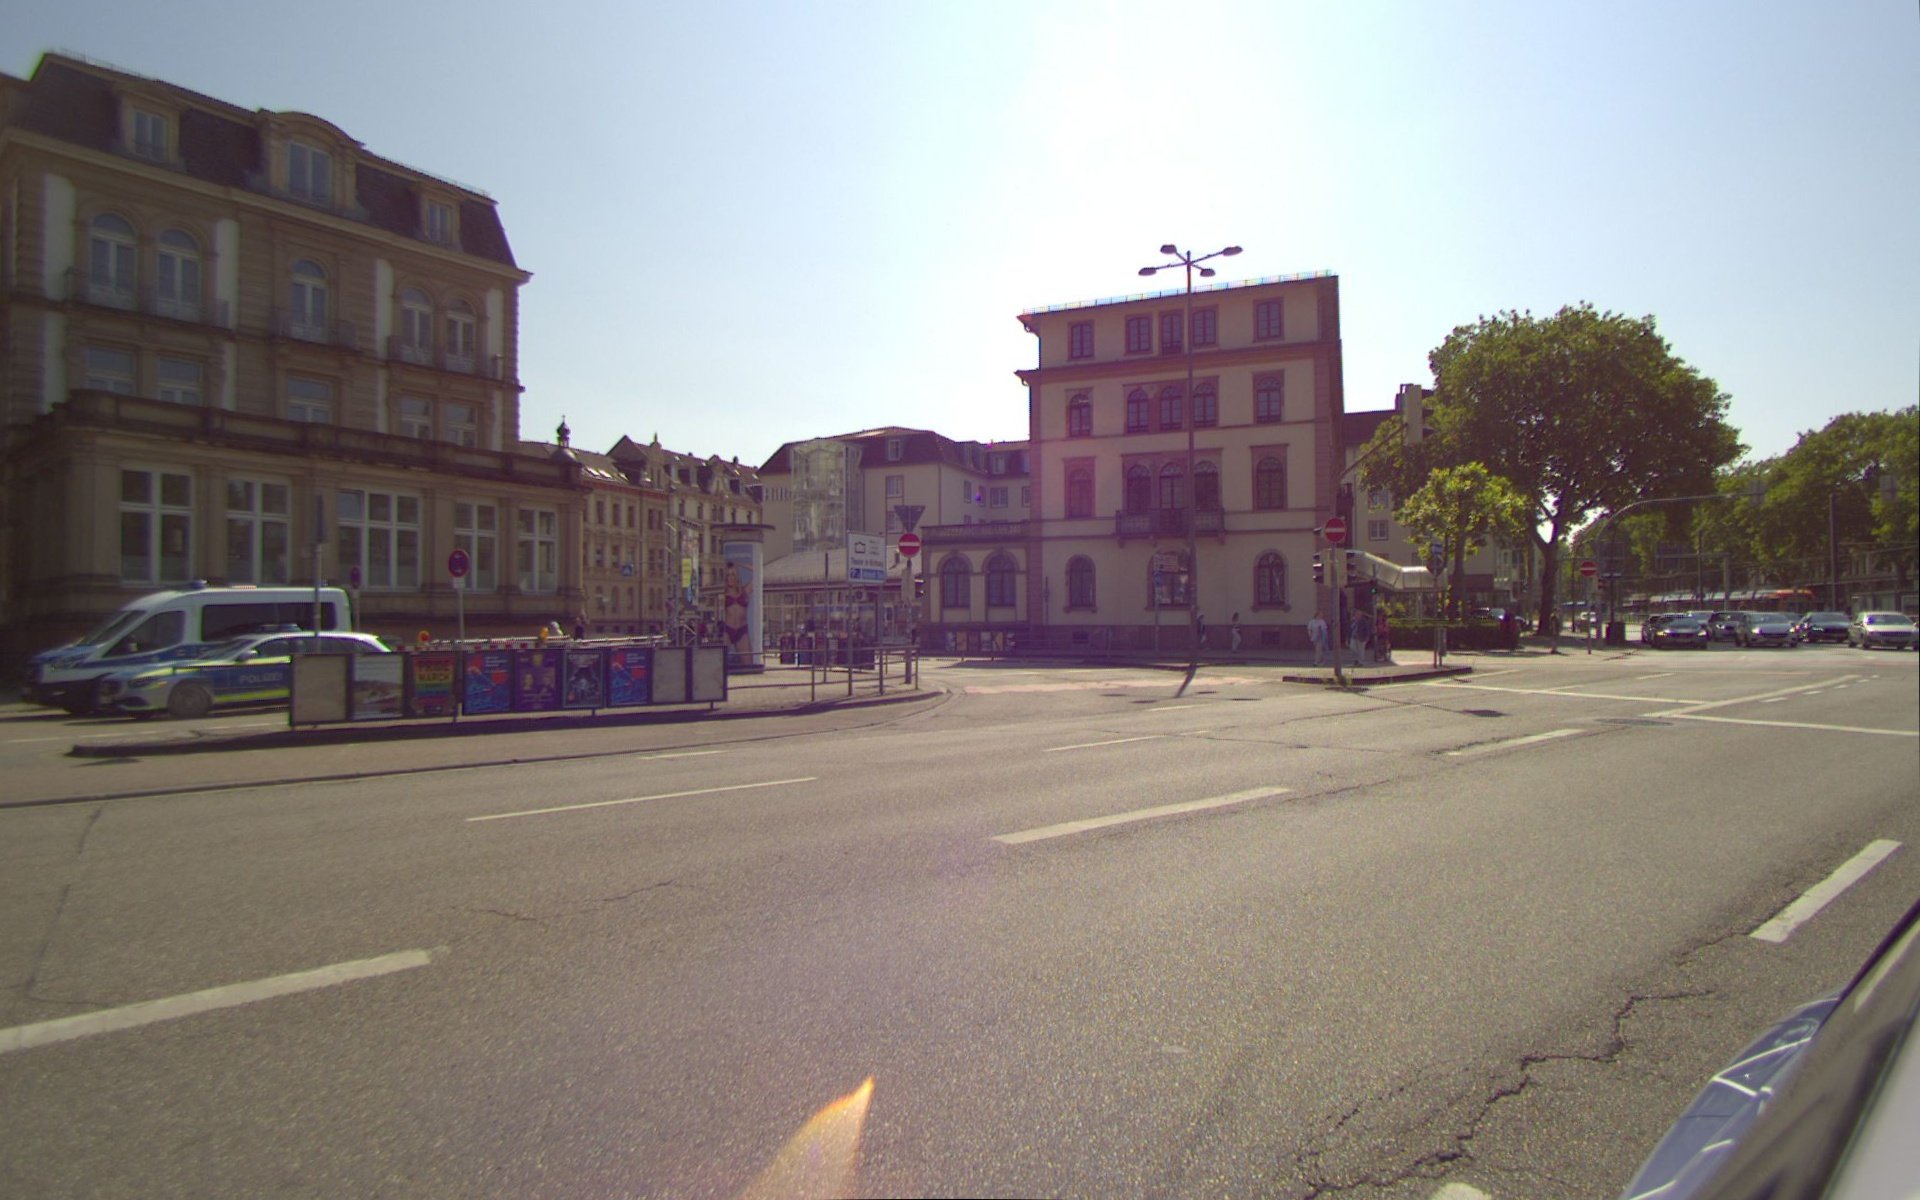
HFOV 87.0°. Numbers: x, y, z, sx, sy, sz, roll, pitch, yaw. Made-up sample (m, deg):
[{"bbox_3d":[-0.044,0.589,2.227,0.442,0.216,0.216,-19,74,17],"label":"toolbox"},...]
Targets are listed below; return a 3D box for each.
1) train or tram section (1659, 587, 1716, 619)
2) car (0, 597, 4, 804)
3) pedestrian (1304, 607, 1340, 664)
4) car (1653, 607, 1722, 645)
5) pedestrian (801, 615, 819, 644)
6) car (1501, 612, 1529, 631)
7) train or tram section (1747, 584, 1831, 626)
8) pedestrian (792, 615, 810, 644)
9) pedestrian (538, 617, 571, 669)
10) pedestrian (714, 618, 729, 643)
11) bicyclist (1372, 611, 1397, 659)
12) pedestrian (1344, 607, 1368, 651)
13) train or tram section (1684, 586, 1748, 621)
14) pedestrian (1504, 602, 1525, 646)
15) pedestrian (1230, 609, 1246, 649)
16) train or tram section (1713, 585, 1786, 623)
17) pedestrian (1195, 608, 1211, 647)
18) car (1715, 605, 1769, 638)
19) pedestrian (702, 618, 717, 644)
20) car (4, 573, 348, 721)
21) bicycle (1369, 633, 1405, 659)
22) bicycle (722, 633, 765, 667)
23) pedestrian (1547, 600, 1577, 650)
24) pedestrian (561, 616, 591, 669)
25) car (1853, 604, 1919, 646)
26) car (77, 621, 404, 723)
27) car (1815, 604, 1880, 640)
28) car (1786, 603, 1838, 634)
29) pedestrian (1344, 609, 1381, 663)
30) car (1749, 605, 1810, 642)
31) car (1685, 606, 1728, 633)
[{"bbox_3d":[78.087,0.348,108.760,2.701,3.309,8.675,-1,-1,21],"label":"train or tram section"},{"bbox_3d":[-6.417,0.733,3.564,4.190,1.561,1.724,0,-2,-35],"label":"car"},{"bbox_3d":[10.892,1.045,30.448,0.750,1.681,0.817,-2,-2,41],"label":"pedestrian"},{"bbox_3d":[30.842,1.074,43.025,1.775,1.470,3.936,0,0,27],"label":"car"},{"bbox_3d":[-8.478,1.666,57.274,0.722,1.624,0.707,-2,-2,45],"label":"pedestrian"},{"bbox_3d":[39.784,1.543,72.595,1.575,1.339,3.546,-1,-1,26],"label":"car"},{"bbox_3d":[68.953,0.450,84.403,2.701,3.309,8.675,-1,-1,21],"label":"train or tram section"},{"bbox_3d":[-8.922,1.645,56.817,0.722,1.624,0.708,-2,-2,44],"label":"pedestrian"},{"bbox_3d":[-13.905,1.464,34.684,0.816,1.763,0.741,-2,-2,38],"label":"pedestrian"},{"bbox_3d":[-15.358,1.946,65.053,0.706,1.624,0.724,1,-2,-37],"label":"pedestrian"},{"bbox_3d":[14.769,1.204,35.198,0.591,1.627,0.673,-2,-2,44],"label":"bicyclist"},{"bbox_3d":[15.677,1.151,40.080,0.833,1.717,0.740,-1,-2,20],"label":"pedestrian"},{"bbox_3d":[75.018,0.382,100.637,2.701,3.309,8.675,-1,-1,21],"label":"train or tram section"},{"bbox_3d":[22.948,0.986,41.871,0.719,1.828,0.646,-1,-2,28],"label":"pedestrian"},{"bbox_3d":[11.549,1.197,41.971,0.529,1.670,0.575,-1,-2,25],"label":"pedestrian"},{"bbox_3d":[71.974,0.416,92.503,2.701,3.309,8.675,-1,-1,21],"label":"train or tram section"},{"bbox_3d":[10.550,1.203,44.011,0.529,1.670,0.668,-1,-2,25],"label":"pedestrian"},{"bbox_3d":[39.830,1.062,51.598,1.778,1.550,3.928,0,0,32],"label":"car"},{"bbox_3d":[-15.883,1.945,64.117,0.705,1.624,0.724,0,-2,-36],"label":"pedestrian"},{"bbox_3d":[-15.814,0.885,20.808,1.984,2.637,5.257,-2,-2,32],"label":"car"},{"bbox_3d":[14.914,1.588,35.341,0.591,0.866,1.717,-2,-2,44],"label":"bicycle"},{"bbox_3d":[-7.553,1.728,35.265,1.812,1.113,0.497,0,-1,40],"label":"bicycle"},{"bbox_3d":[23.058,0.961,38.774,0.715,1.869,0.592,-1,-1,-1],"label":"pedestrian"},{"bbox_3d":[-13.067,1.424,34.457,0.697,1.774,0.712,-2,-2,36],"label":"pedestrian"},{"bbox_3d":[35.991,0.939,38.966,1.707,1.519,4.438,0,-1,32],"label":"car"},{"bbox_3d":[-13.523,1.267,19.387,1.807,1.647,4.826,-2,-1,31],"label":"car"},{"bbox_3d":[40.981,0.980,46.812,1.780,1.543,3.924,0,0,35],"label":"car"},{"bbox_3d":[45.792,0.967,54.466,1.780,1.543,3.924,0,0,35],"label":"car"},{"bbox_3d":[12.048,1.066,30.297,0.770,1.592,0.817,-2,-2,42],"label":"pedestrian"},{"bbox_3d":[34.831,0.969,43.092,1.781,1.470,3.923,0,0,35],"label":"car"},{"bbox_3d":[43.172,1.089,58.518,1.784,1.470,3.916,0,0,40],"label":"car"}]
